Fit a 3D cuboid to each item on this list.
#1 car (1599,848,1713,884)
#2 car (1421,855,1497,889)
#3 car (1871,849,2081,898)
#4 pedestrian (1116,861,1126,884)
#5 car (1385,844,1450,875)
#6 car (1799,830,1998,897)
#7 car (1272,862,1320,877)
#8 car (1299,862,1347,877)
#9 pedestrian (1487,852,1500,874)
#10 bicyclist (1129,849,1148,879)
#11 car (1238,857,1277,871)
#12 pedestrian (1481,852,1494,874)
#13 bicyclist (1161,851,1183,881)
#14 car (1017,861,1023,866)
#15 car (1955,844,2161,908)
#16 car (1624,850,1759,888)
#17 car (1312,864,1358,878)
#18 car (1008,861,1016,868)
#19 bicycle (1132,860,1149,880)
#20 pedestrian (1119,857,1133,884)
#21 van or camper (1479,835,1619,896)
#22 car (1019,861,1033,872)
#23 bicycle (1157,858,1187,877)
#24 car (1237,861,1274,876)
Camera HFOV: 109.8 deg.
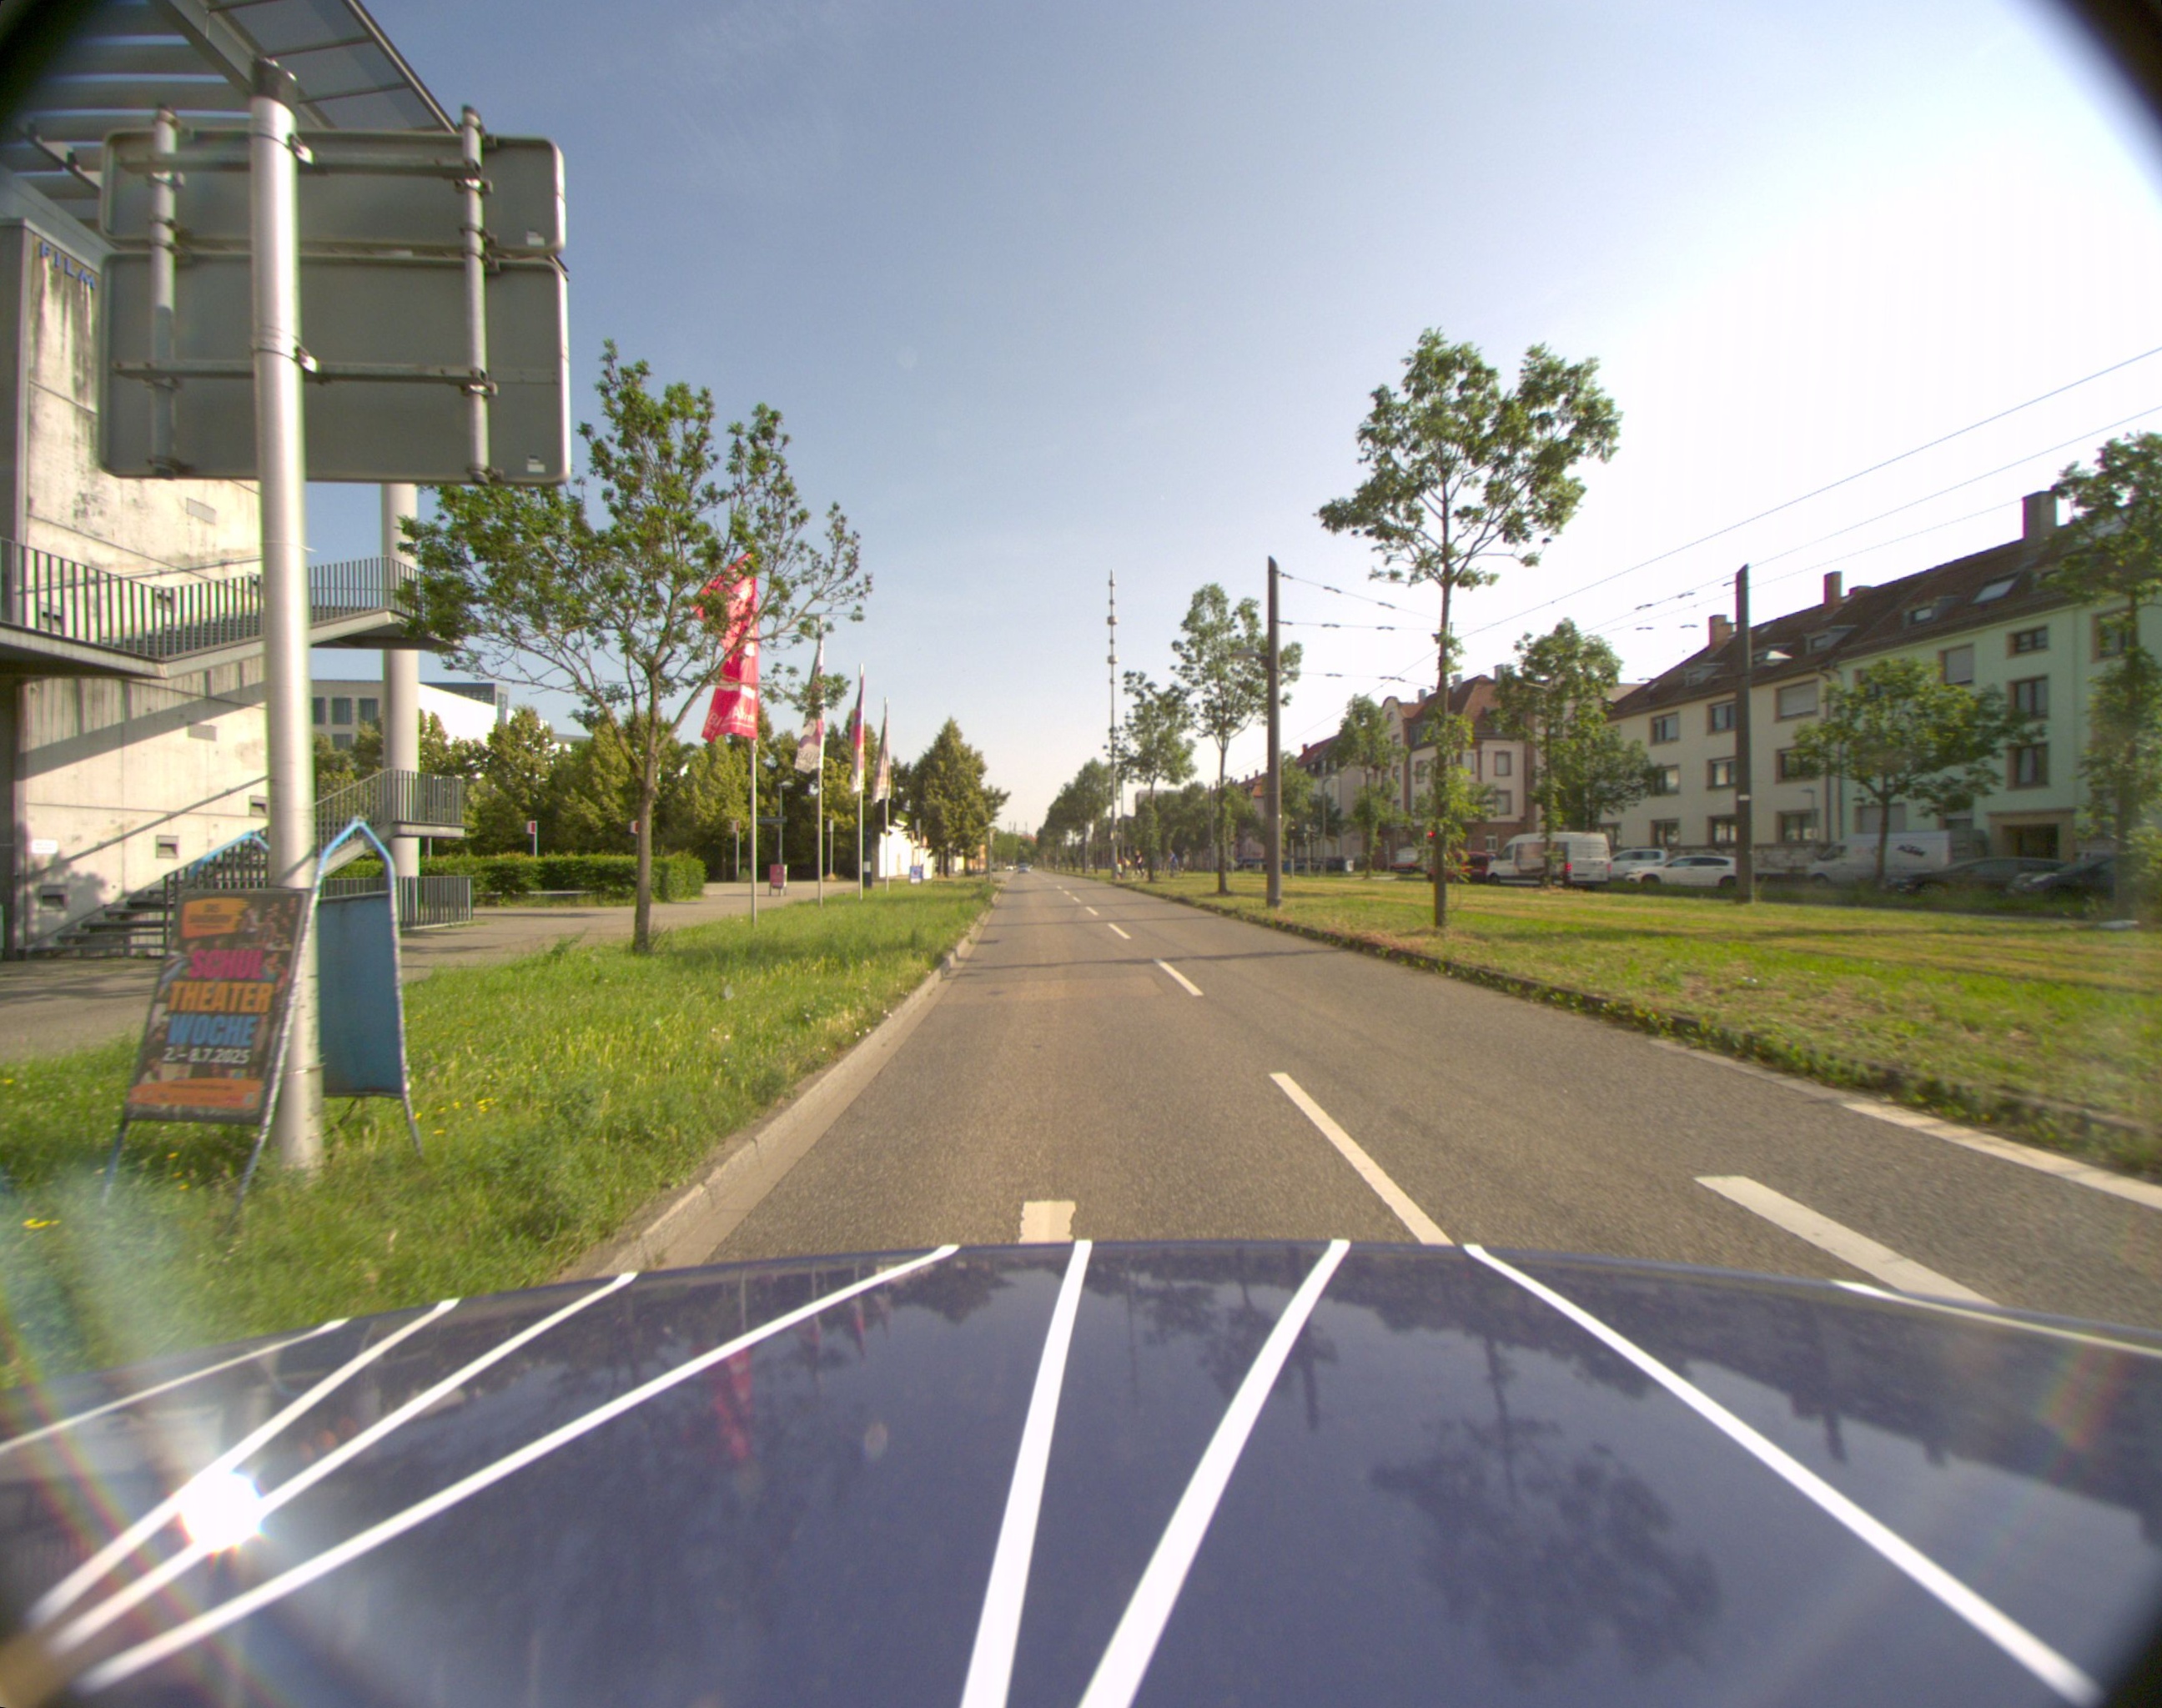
[{"bbox_3d":[26.665,0.571,35.397,4.088,1.520,1.816,-2,1,33],"label":"car"},{"bbox_3d":[20.340,0.921,41.057,1.821,1.727,4.159,1,0,-3],"label":"car"},{"bbox_3d":[26.993,0.613,23.126,3.767,1.335,1.776,-2,1,33],"label":"car"},{"bbox_3d":[2.418,1.101,45.881,0.456,1.350,0.549,-1,0,24],"label":"pedestrian"},{"bbox_3d":[30.428,0.451,68.919,2.355,2.549,6.504,-2,0,-6],"label":"car"},{"bbox_3d":[33.590,0.355,31.545,1.999,2.449,5.576,-2,0,-3],"label":"car"},{"bbox_3d":[23.014,1.651,81.330,4.504,1.432,2.003,-2,1,27],"label":"car"},{"bbox_3d":[24.281,1.541,76.229,4.333,1.318,2.003,-2,0,27],"label":"car"},{"bbox_3d":[33.360,0.742,61.484,0.670,1.738,0.632,-2,1,-4],"label":"pedestrian"},{"bbox_3d":[3.430,0.588,45.229,0.906,1.812,0.872,0,0,19],"label":"bicyclist"},{"bbox_3d":[22.575,1.220,97.147,4.491,1.596,2.003,-2,1,24],"label":"car"},{"bbox_3d":[33.306,0.724,62.214,0.670,1.738,0.632,-2,1,-4],"label":"pedestrian"},{"bbox_3d":[5.740,0.774,47.986,1.186,1.840,0.911,-2,1,13],"label":"bicyclist"},{"bbox_3d":[-20.183,3.037,251.314,1.999,1.652,3.998,-1,0,-5],"label":"car"},{"bbox_3d":[26.956,0.582,20.320,4.338,1.521,2.004,-2,1,35],"label":"car"},{"bbox_3d":[26.326,0.675,32.977,4.355,1.466,1.861,-2,1,33],"label":"car"},{"bbox_3d":[23.852,1.598,71.473,3.841,1.121,1.772,-2,0,27],"label":"car"},{"bbox_3d":[-17.631,2.626,194.085,1.999,1.652,3.998,-1,0,-5],"label":"car"},{"bbox_3d":[3.569,0.955,45.378,0.575,1.139,1.755,0,0,18],"label":"bicycle"},{"bbox_3d":[2.728,1.011,46.454,0.610,1.594,0.736,-1,0,26],"label":"pedestrian"},{"bbox_3d":[20.776,0.466,34.189,2.148,2.459,6.056,1,0,-5],"label":"van or camper"},{"bbox_3d":[-8.398,1.937,115.773,1.999,1.652,3.998,-1,0,-5],"label":"car"},{"bbox_3d":[5.728,0.837,47.938,1.790,1.139,0.577,-2,1,13],"label":"bicycle"},{"bbox_3d":[21.189,1.774,92.334,3.990,1.696,1.877,-2,1,24],"label":"car"}]
